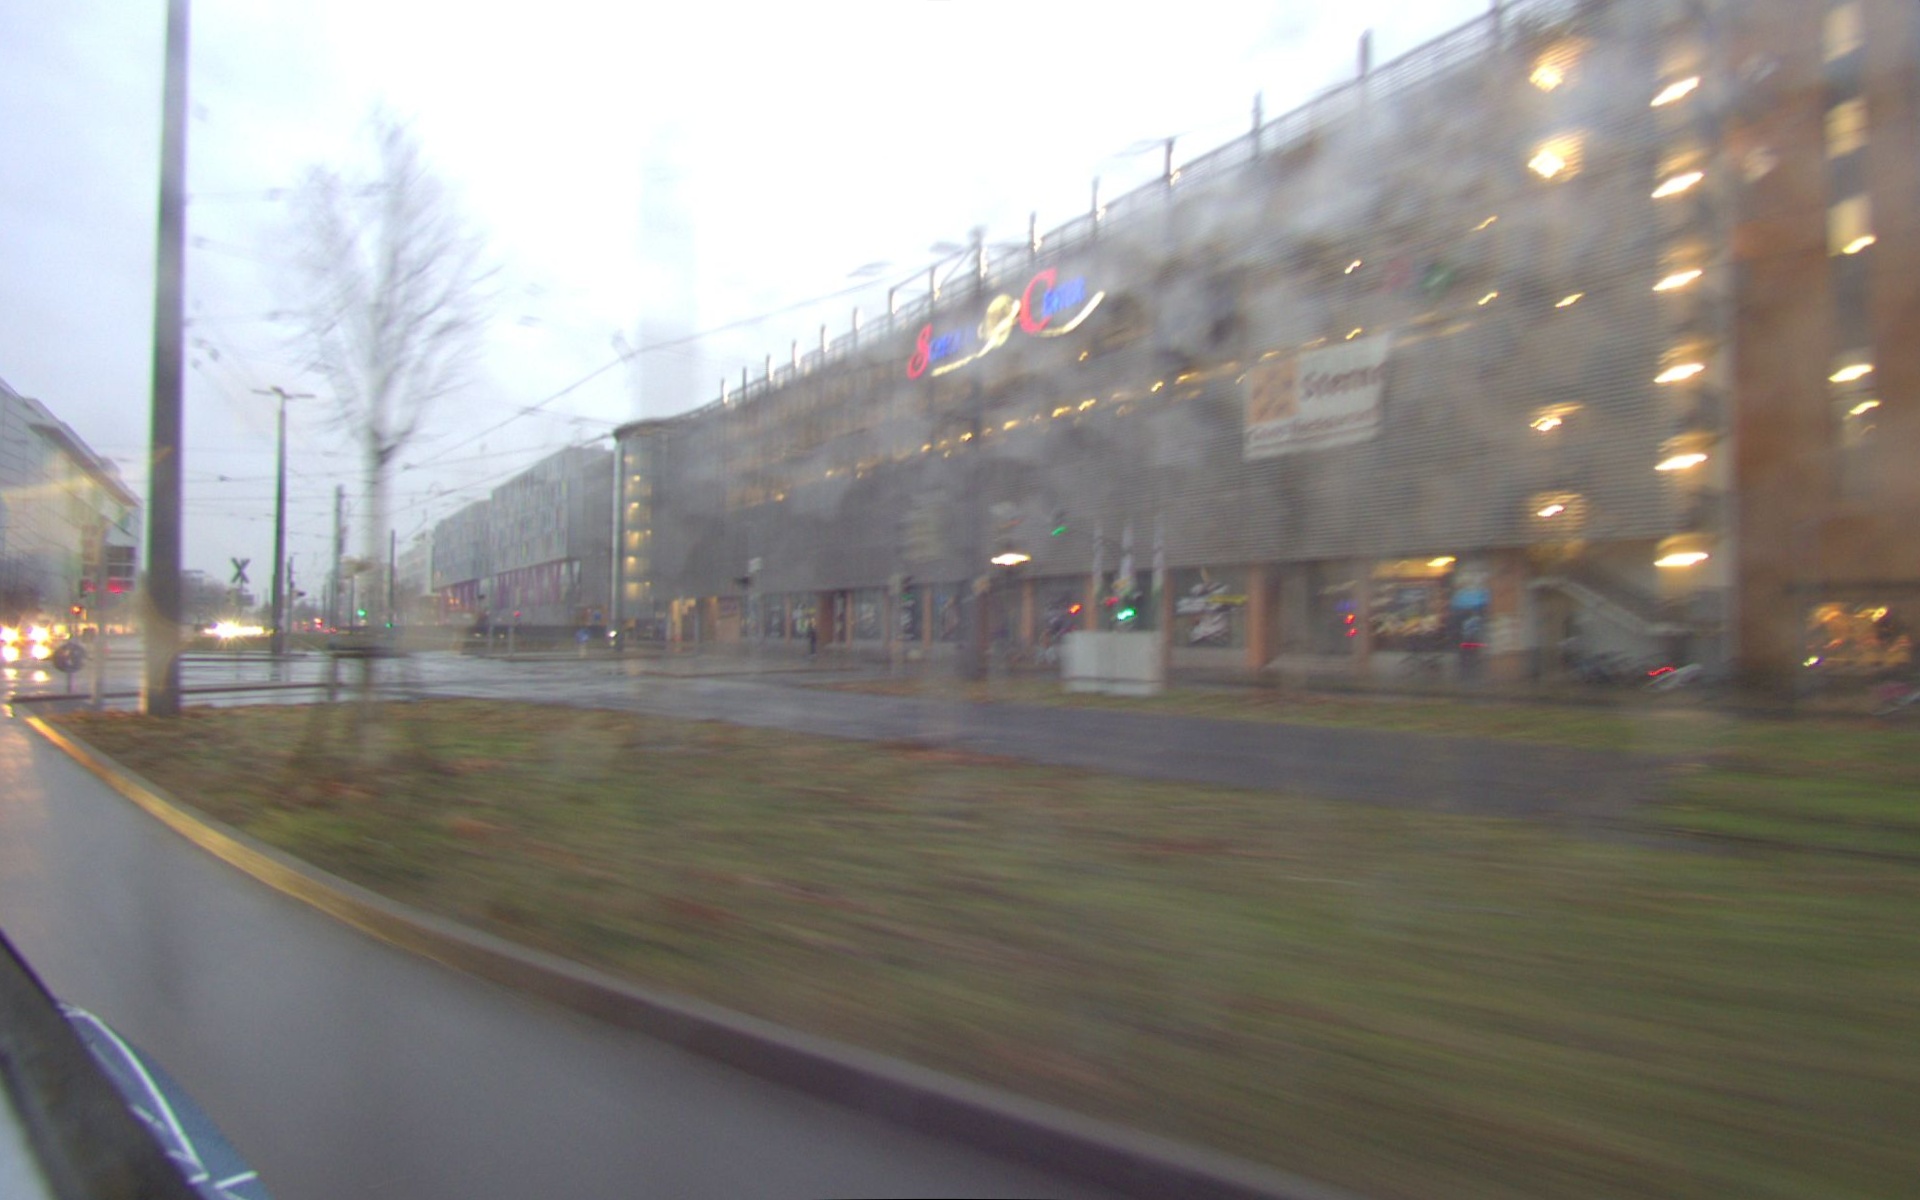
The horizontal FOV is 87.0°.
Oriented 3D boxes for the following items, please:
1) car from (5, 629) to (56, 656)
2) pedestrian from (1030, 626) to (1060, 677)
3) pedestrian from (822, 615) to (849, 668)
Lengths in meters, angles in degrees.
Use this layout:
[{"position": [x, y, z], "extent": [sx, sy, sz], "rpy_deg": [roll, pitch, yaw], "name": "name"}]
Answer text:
[{"position": [-59.835, 2.706, 65.178], "extent": [1.803, 1.674, 4.010], "rpy_deg": [2, -2, -34], "name": "car"}, {"position": [4.166, 2.528, 49.619], "extent": [0.950, 2.457, 1.117], "rpy_deg": [2, -2, -33], "name": "pedestrian"}, {"position": [-7.069, 2.365, 57.483], "extent": [1.095, 2.947, 0.969], "rpy_deg": [2, -2, -34], "name": "pedestrian"}]
